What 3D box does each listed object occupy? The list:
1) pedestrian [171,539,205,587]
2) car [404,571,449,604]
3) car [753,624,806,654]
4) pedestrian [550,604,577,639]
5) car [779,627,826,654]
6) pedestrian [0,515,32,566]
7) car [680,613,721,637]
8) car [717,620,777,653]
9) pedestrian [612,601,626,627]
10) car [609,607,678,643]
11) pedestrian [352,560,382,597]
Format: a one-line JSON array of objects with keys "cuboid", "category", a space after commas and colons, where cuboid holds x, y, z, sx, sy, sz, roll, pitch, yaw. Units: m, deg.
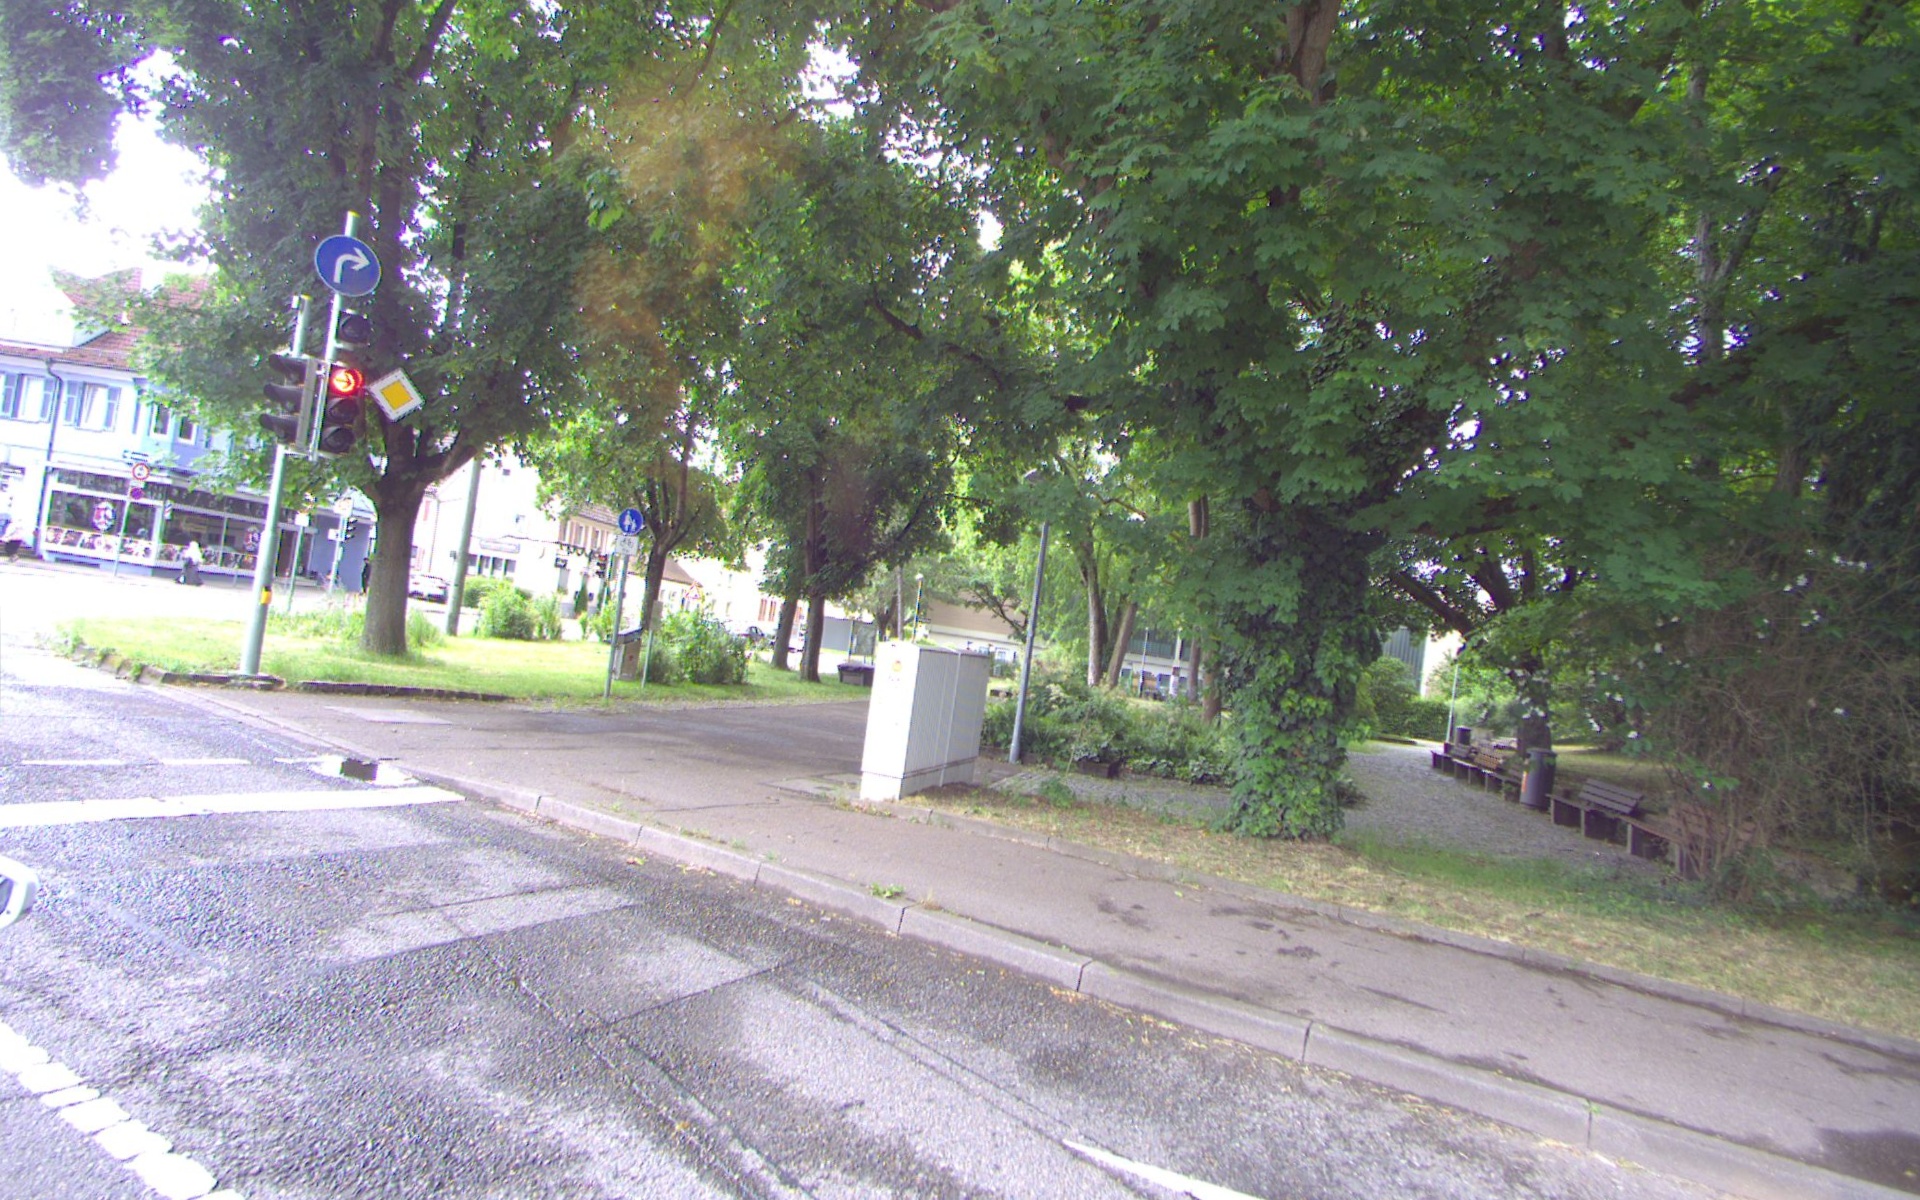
[{"cuboid": [-27.081, -1.294, 35.295, 0.688, 1.578, 0.662, 7, -1, -27], "category": "pedestrian"}, {"cuboid": [-28.178, -0.688, 53.157, 1.870, 1.406, 3.589, 9, -2, -28], "category": "car"}, {"cuboid": [-10.703, 2.340, 59.903, 1.618, 1.474, 3.740, 7, -2, 13], "category": "car"}, {"cuboid": [-13.042, 0.716, 33.103, 0.506, 1.093, 0.507, 6, -1, 17], "category": "pedestrian"}, {"cuboid": [-10.277, 2.657, 66.034, 1.618, 1.474, 3.740, 7, -2, 13], "category": "car"}, {"cuboid": [-31.437, -1.973, 33.295, 0.725, 1.578, 0.763, 7, -1, -27], "category": "pedestrian"}, {"cuboid": [-19.059, 1.885, 74.117, 1.736, 1.463, 3.865, 7, -2, 2], "category": "car"}, {"cuboid": [-11.566, 2.016, 54.929, 1.618, 1.474, 3.740, 7, -2, 13], "category": "car"}, {"cuboid": [-21.406, 0.865, 63.163, 0.500, 1.578, 0.505, 6, -1, 17], "category": "pedestrian"}, {"cuboid": [-13.840, 1.126, 44.099, 1.436, 1.282, 3.014, 7, -2, 13], "category": "car"}, {"cuboid": [-26.721, -0.966, 45.326, 0.732, 1.578, 0.673, 6, -1, 17], "category": "pedestrian"}]
